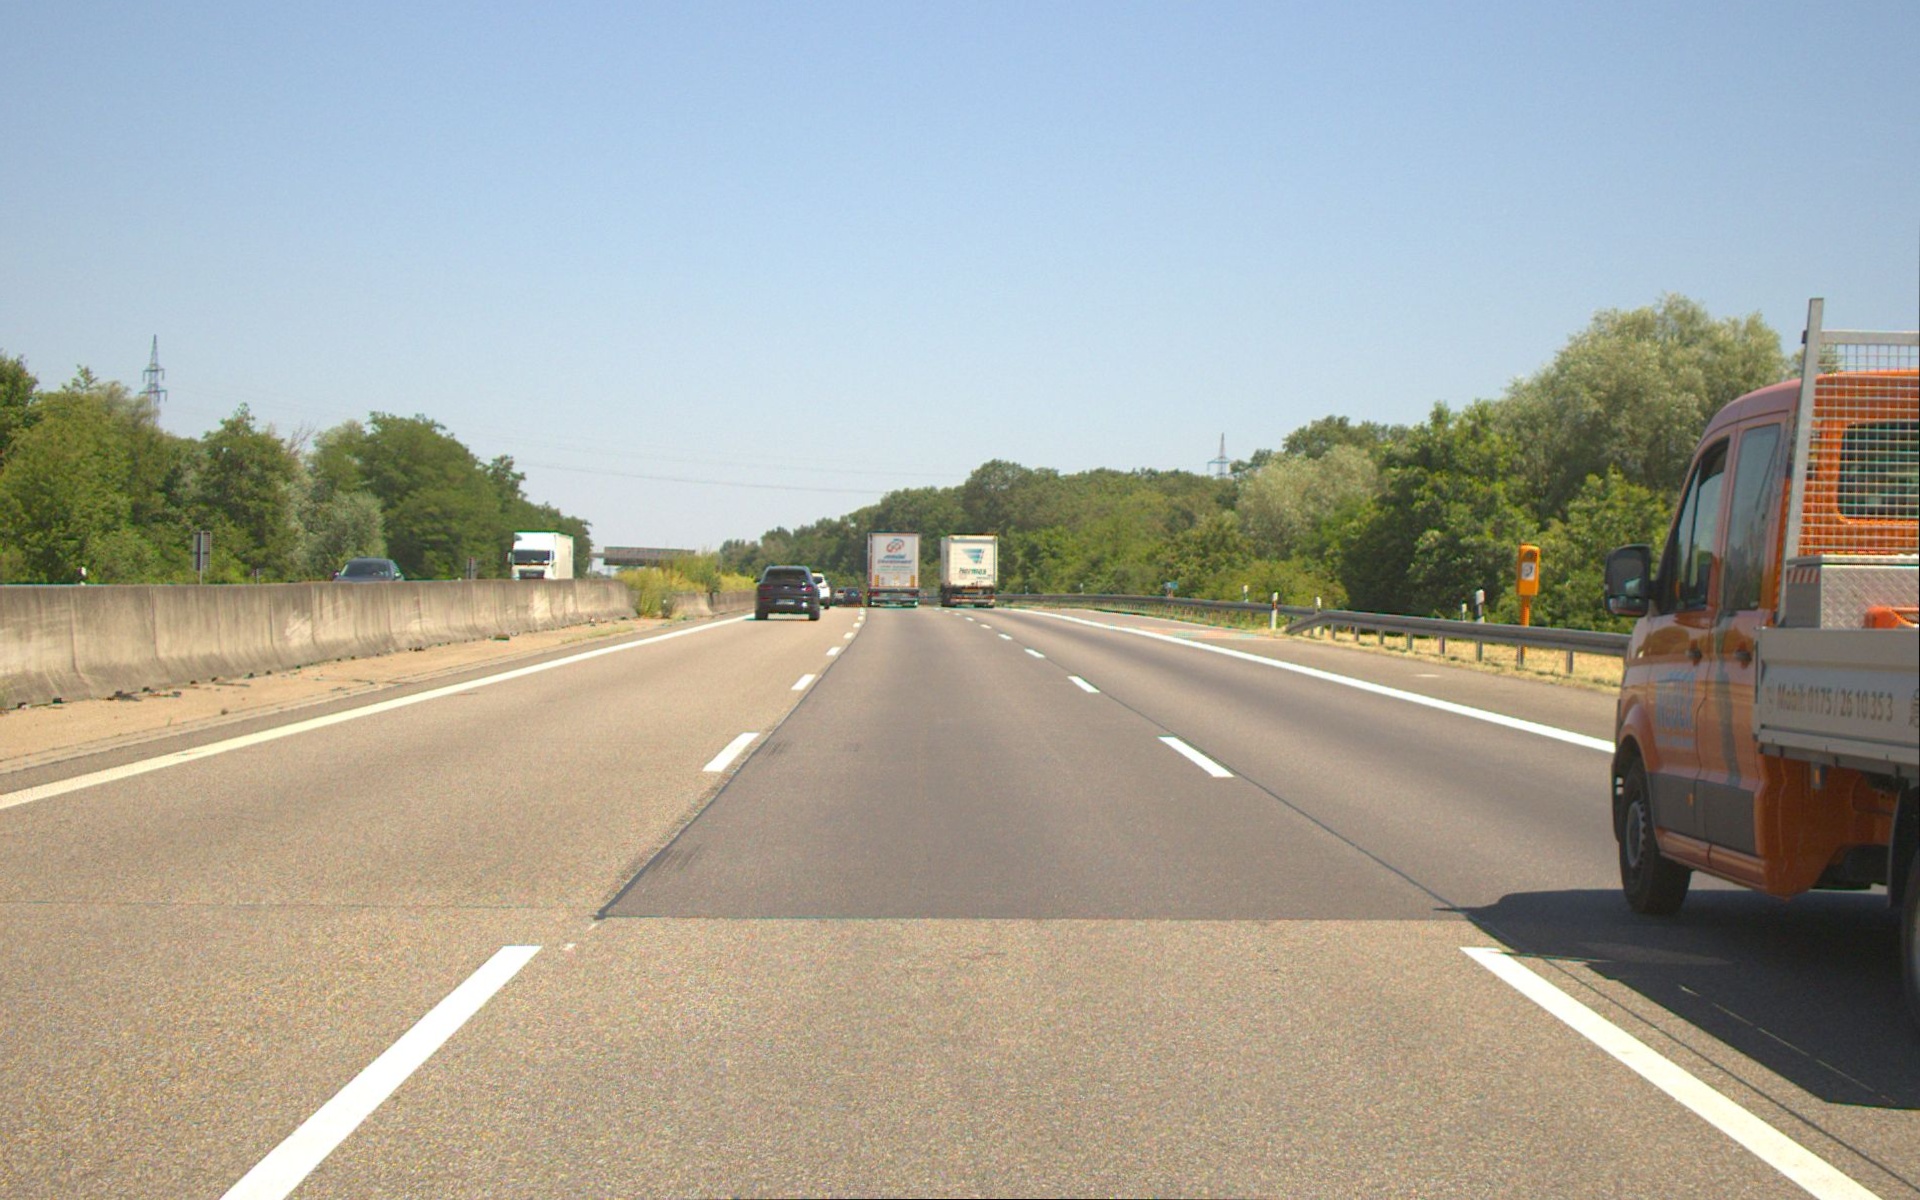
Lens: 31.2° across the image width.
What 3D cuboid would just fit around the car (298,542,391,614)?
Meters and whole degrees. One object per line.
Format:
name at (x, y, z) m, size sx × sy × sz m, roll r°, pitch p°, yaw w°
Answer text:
car at (-18.007, -0.662, 100.745) m, size 1.993 × 2.007 × 4.086 m, roll 1°, pitch 1°, yaw -1°

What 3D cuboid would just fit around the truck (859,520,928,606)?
truck at (-3.497, -1.940, 179.017) m, size 3.229 × 4.187 × 8.467 m, roll 3°, pitch 1°, yaw -2°

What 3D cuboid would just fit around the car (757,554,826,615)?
car at (-5.349, -0.513, 109.372) m, size 1.993 × 1.868 × 4.000 m, roll 1°, pitch 1°, yaw -1°

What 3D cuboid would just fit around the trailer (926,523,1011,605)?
trailer at (0.393, -1.980, 186.198) m, size 3.367 × 4.128 × 9.093 m, roll 4°, pitch 1°, yaw -6°

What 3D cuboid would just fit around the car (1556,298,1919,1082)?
car at (3.912, 0.261, 12.799) m, size 1.993 × 2.397 × 7.227 m, roll 1°, pitch 1°, yaw -1°

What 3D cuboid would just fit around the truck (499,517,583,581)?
truck at (-25.867, -3.090, 213.056) m, size 3.598 × 3.722 × 17.487 m, roll 1°, pitch 0°, yaw -2°

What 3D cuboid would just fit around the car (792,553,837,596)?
car at (-6.712, -1.195, 159.240) m, size 1.993 × 1.868 × 4.000 m, roll 2°, pitch 1°, yaw -2°
